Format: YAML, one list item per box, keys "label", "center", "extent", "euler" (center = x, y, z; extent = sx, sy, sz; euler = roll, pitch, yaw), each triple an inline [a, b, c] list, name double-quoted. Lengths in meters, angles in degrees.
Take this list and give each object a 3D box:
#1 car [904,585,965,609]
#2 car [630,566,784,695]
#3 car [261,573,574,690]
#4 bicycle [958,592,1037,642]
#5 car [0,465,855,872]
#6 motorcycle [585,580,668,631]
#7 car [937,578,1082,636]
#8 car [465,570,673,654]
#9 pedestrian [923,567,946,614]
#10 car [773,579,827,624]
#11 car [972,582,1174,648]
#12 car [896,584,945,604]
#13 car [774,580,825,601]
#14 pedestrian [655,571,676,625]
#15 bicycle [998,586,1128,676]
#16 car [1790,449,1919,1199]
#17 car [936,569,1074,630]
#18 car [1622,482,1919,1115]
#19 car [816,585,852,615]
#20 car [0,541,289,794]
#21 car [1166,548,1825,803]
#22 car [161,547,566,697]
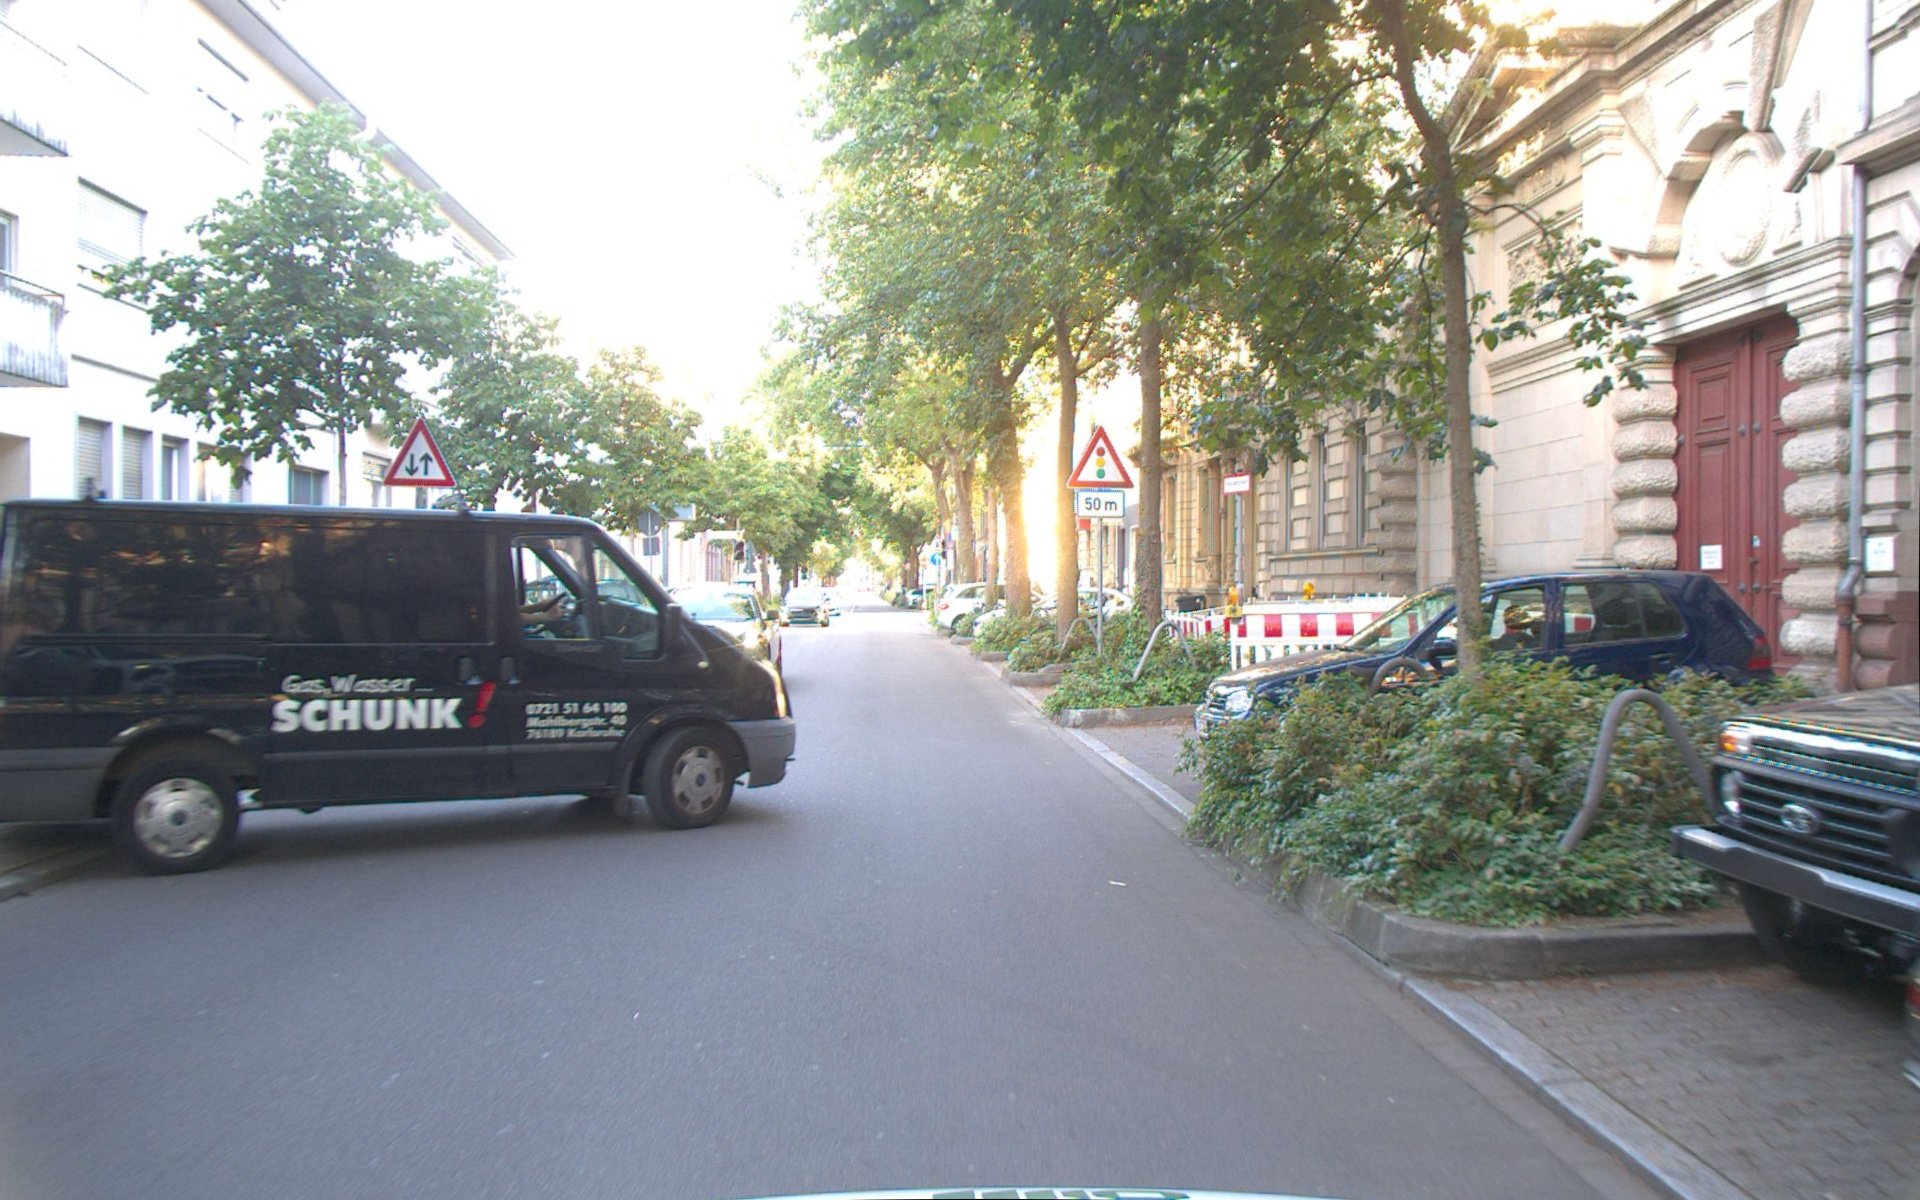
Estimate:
- label: "car"
  center: [-1.769, -0.213, 114.288]
  extent: [4.109, 1.506, 1.851]
  euler: [-1, 1, -4]
- label: "car"
  center: [-3.566, 0.375, 24.068]
  extent: [1.840, 1.669, 4.642]
  euler: [-1, 1, -4]
- label: "car"
  center: [-7.881, 0.440, 24.287]
  extent: [3.946, 1.520, 1.780]
  euler: [2, 0, 0]
- label: "bicycle"
  center: [0.994, 0.431, 43.452]
  extent: [1.986, 1.225, 0.486]
  euler: [-2, 0, -16]
- label: "car"
  center: [-3.332, 0.316, 10.257]
  extent: [4.934, 2.025, 2.169]
  euler: [0, 1, -29]
- label: "motorcycle"
  center: [-9.457, 0.155, 46.979]
  extent: [2.103, 1.444, 0.968]
  euler: [0, 0, 18]
- label: "car"
  center: [1.421, 0.192, 48.205]
  extent: [4.138, 1.587, 1.971]
  euler: [-1, 1, 0]
- label: "car"
  center: [-8.316, 0.246, 35.444]
  extent: [4.011, 1.660, 1.935]
  euler: [1, 0, -2]
- label: "pedestrian"
  center: [-1.194, -0.451, 77.894]
  extent: [1.022, 2.184, 1.063]
  euler: [1, -1, -3]
- label: "car"
  center: [-5.924, 0.029, 61.601]
  extent: [1.839, 1.576, 4.272]
  euler: [-1, 1, -3]
- label: "car"
  center: [2.539, 0.322, 37.982]
  extent: [4.491, 1.462, 1.925]
  euler: [0, 1, -2]
- label: "car"
  center: [-3.221, -0.500, 134.461]
  extent: [3.936, 1.651, 1.779]
  euler: [0, 0, -5]
- label: "car"
  center: [-16.233, -0.945, 167.369]
  extent: [4.964, 2.119, 2.261]
  euler: [0, 0, -4]
- label: "pedestrian"
  center: [-10.365, -0.077, 58.173]
  extent: [0.542, 1.883, 0.612]
  euler: [0, 0, 11]
- label: "bicycle"
  center: [1.658, 0.501, 26.660]
  extent: [2.006, 1.384, 0.508]
  euler: [2, 0, -5]
- label: "car"
  center: [4.163, 0.514, 2.981]
  extent: [4.352, 1.748, 1.967]
  euler: [-1, 0, -4]
- label: "car"
  center: [1.478, -0.023, 55.829]
  extent: [4.452, 1.948, 1.948]
  euler: [-1, 0, -6]
- label: "car"
  center: [4.504, 0.506, 5.481]
  extent: [3.928, 1.716, 1.764]
  euler: [-1, 1, -3]
- label: "car"
  center: [-6.678, -0.017, 87.809]
  extent: [1.840, 1.576, 4.271]
  euler: [-1, 1, -4]
- label: "car"
  center: [-7.295, 0.356, 11.665]
  extent: [4.268, 1.600, 1.929]
  euler: [3, 0, -3]
- label: "car"
  center: [3.738, 0.489, 12.030]
  extent: [4.140, 1.507, 1.853]
  euler: [-3, 1, -3]
- label: "car"
  center: [-7.741, 0.271, 21.883]
  extent: [4.573, 1.796, 2.155]
  euler: [1, 0, -4]
